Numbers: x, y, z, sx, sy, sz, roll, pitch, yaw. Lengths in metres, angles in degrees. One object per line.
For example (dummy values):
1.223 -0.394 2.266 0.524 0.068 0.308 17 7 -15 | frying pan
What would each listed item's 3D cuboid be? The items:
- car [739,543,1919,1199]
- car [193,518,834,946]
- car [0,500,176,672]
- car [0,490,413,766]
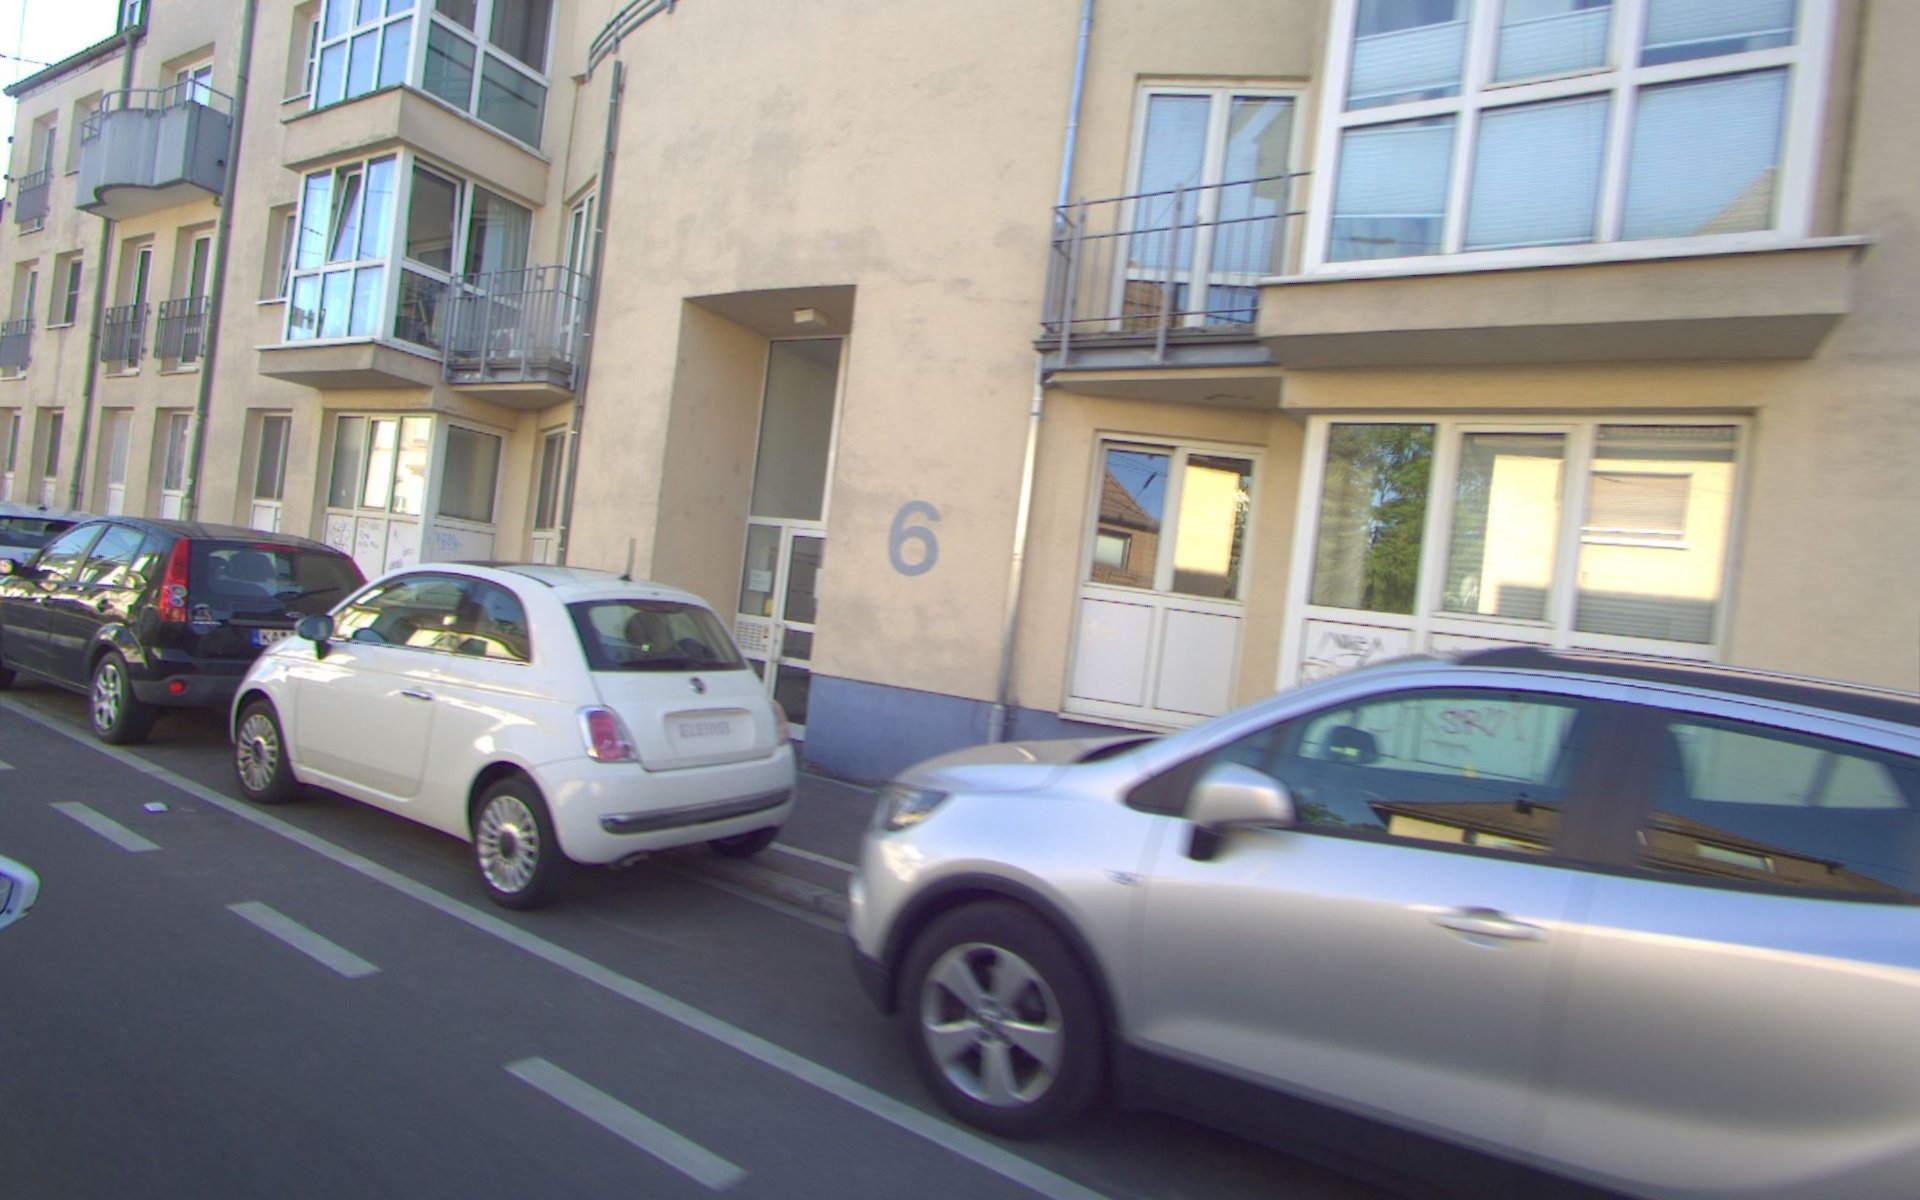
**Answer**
1.410 0.936 3.122 3.924 1.719 1.606 7 -2 32 | car
-2.562 0.551 5.631 3.308 1.575 1.500 7 -2 31 | car
-10.315 -0.309 10.661 4.103 1.508 1.681 7 -2 31 | car
-6.082 0.137 7.728 3.591 1.575 1.557 7 -2 31 | car
